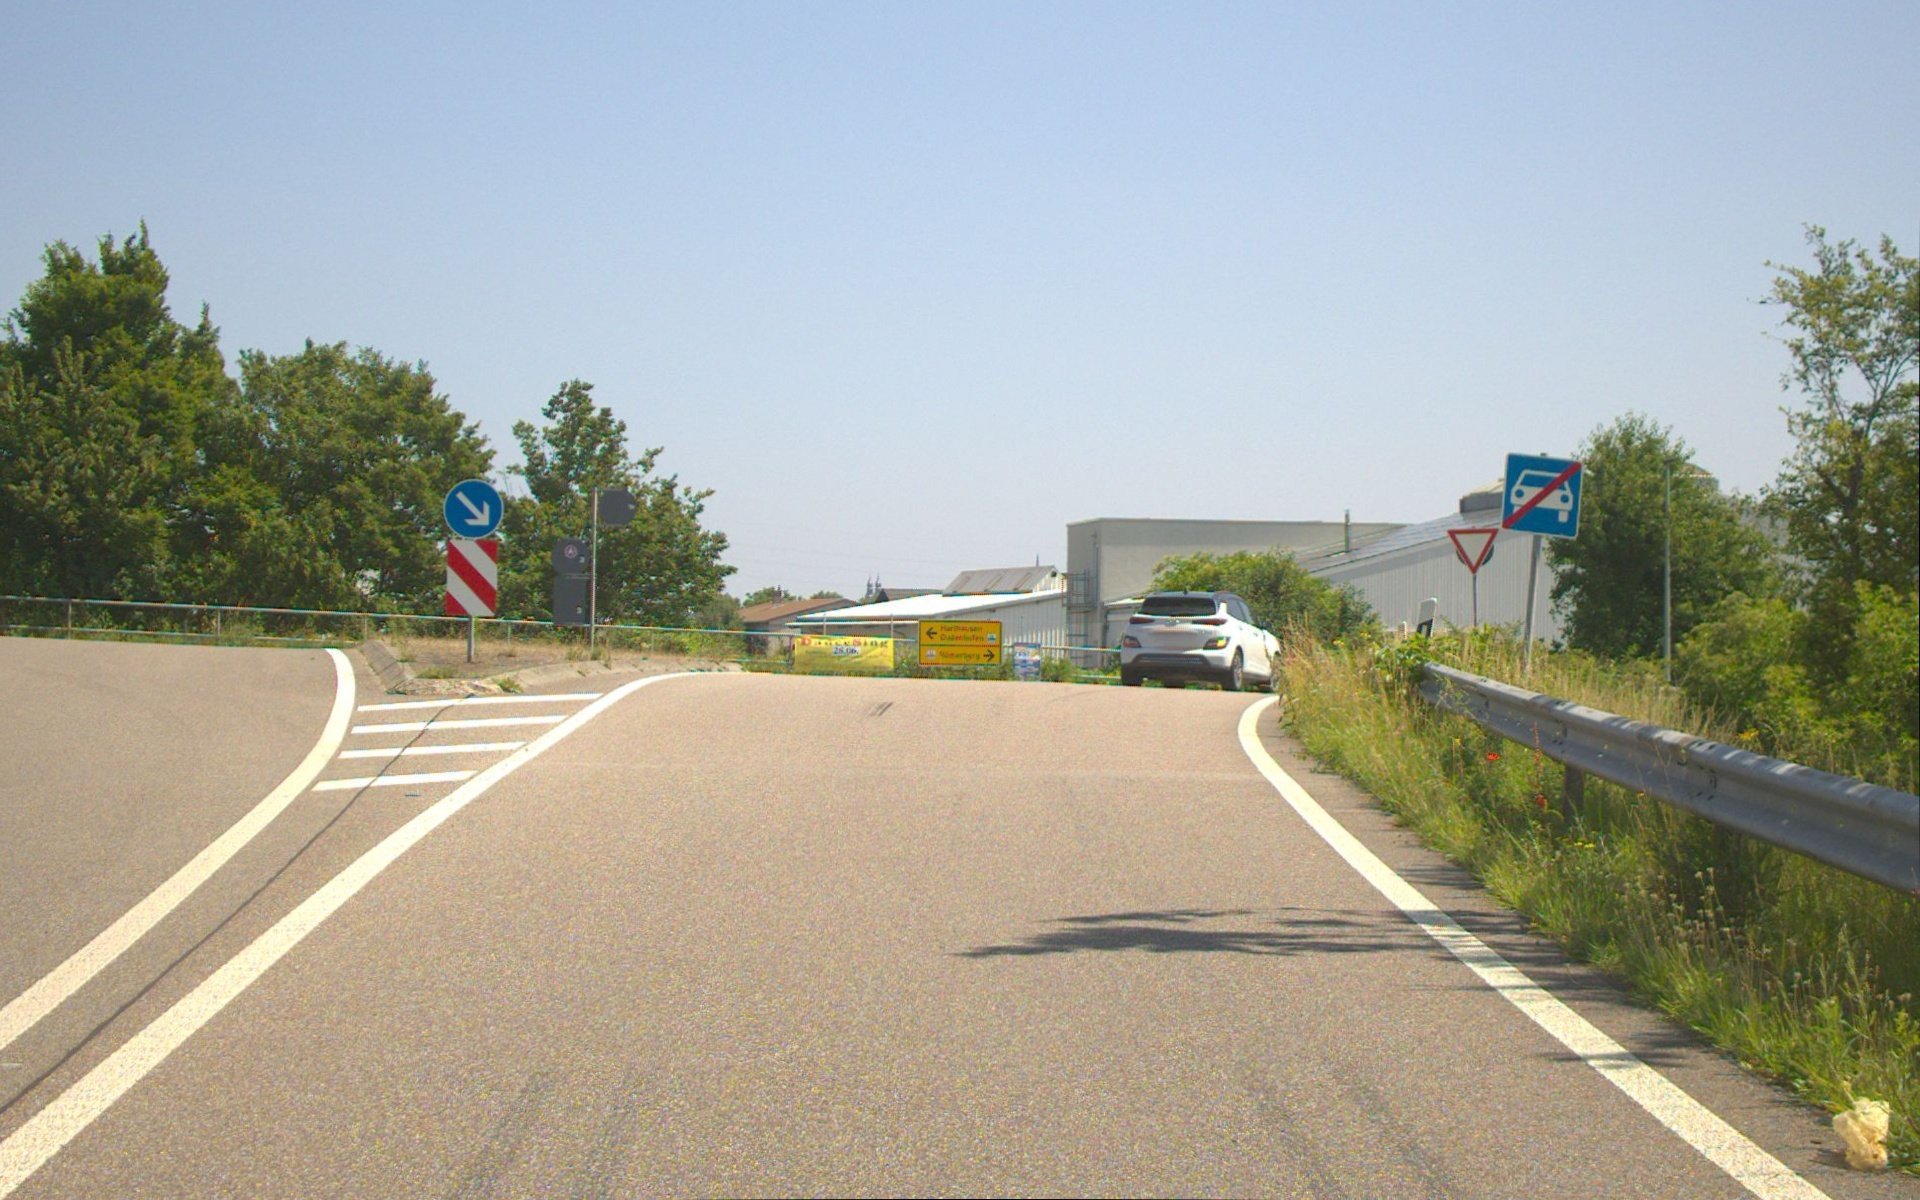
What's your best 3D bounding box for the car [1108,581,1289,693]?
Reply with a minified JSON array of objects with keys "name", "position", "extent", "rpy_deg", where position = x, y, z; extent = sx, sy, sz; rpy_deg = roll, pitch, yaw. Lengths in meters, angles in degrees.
[{"name":"car","position":[3.789,0.590,53.971],"extent":[1.810,1.685,3.996],"rpy_deg":[0,-1,20]}]
